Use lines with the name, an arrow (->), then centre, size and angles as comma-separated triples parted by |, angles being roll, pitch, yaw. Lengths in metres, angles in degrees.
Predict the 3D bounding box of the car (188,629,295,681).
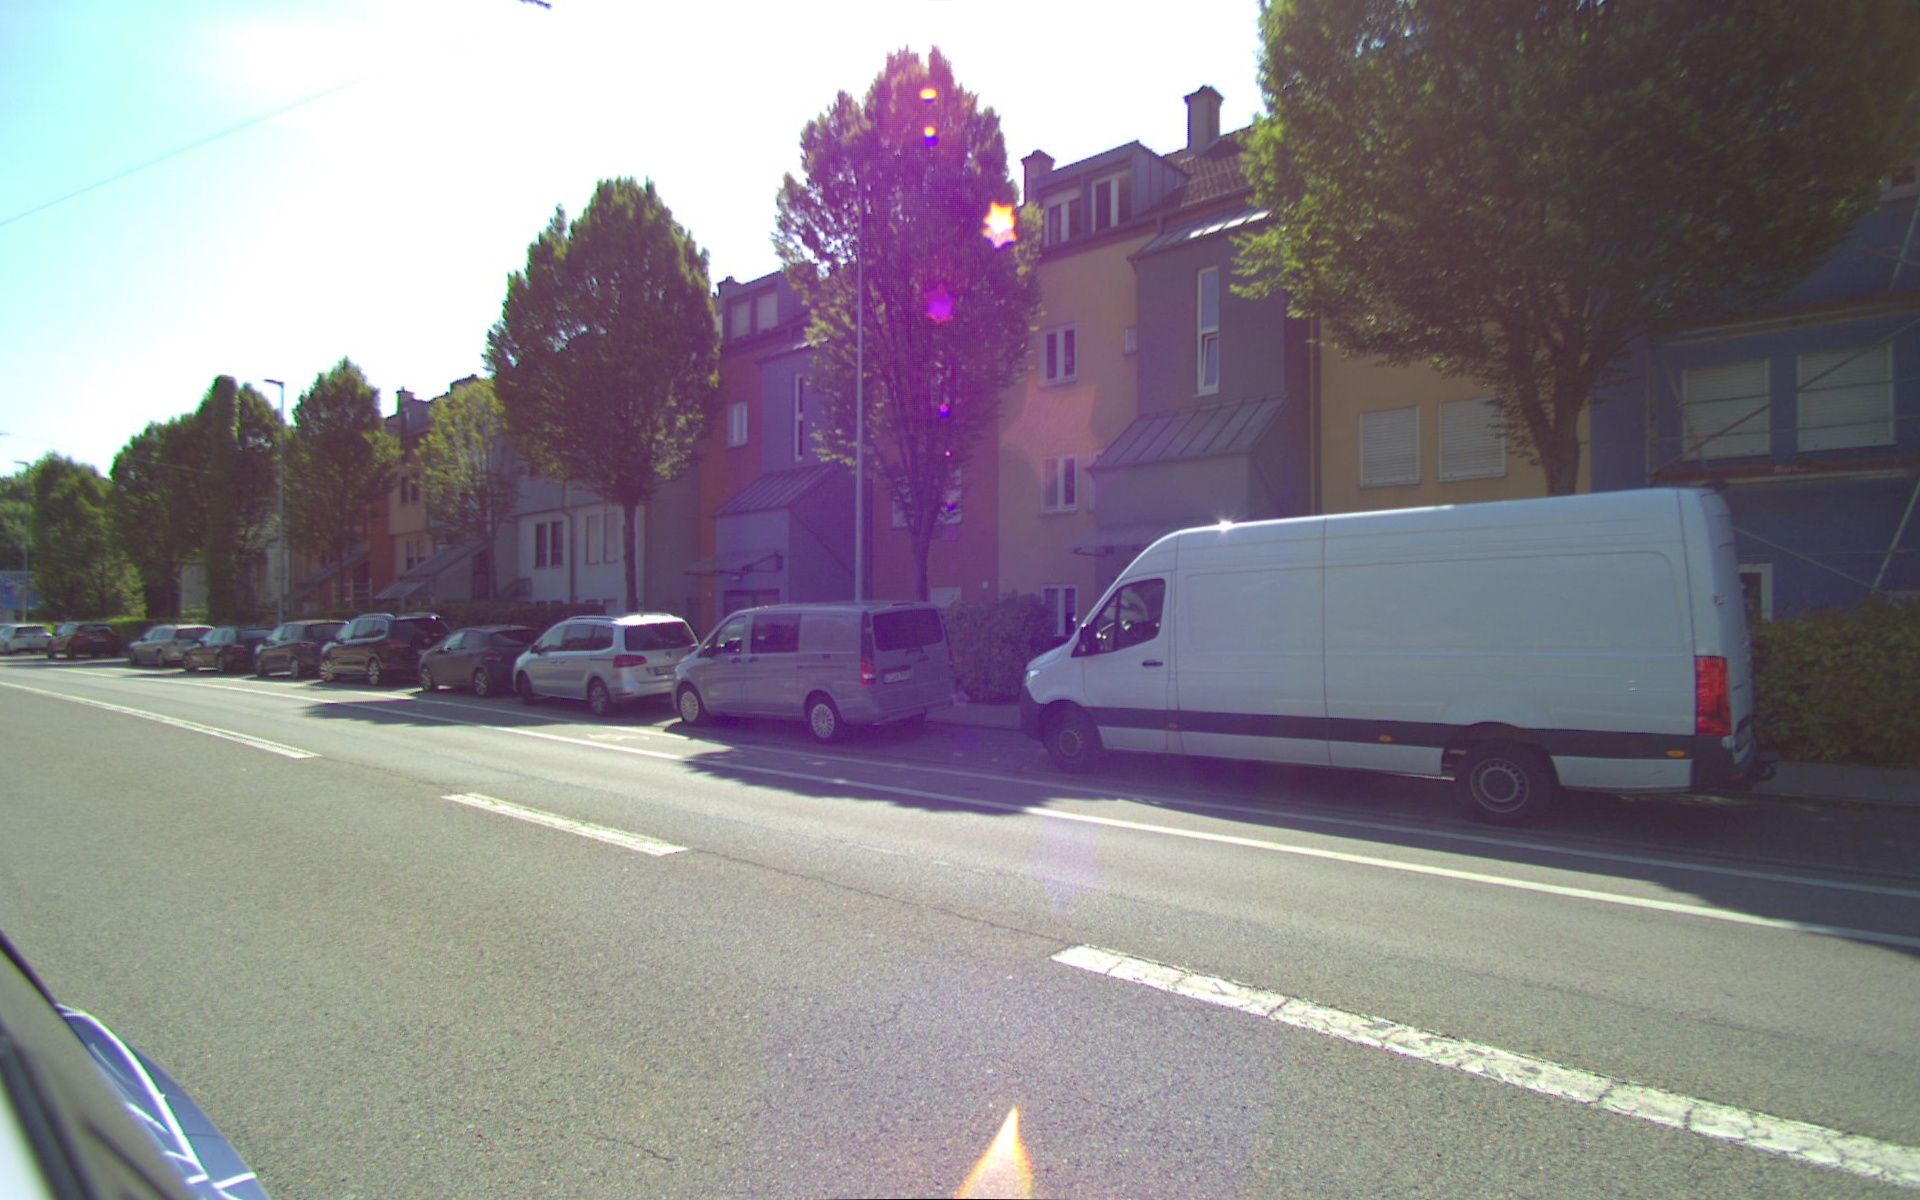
car -> -23.034, 1.697, 32.395 | 4.207, 1.481, 1.661 | -1, 0, 38

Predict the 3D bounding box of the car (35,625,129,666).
car -> -37.524, 1.890, 43.234 | 4.920, 1.588, 1.889 | -1, 0, 35

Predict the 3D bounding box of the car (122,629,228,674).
car -> -28.433, 1.803, 36.612 | 4.826, 1.457, 1.662 | -1, 0, 35

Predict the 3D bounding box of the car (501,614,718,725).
car -> -6.649, 1.182, 18.937 | 4.539, 1.715, 1.829 | -1, 2, 42

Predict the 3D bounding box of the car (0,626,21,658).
car -> -48.406, 2.075, 50.162 | 4.206, 1.489, 1.893 | -1, 0, 35

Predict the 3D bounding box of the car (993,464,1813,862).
car -> 3.707, 0.446, 9.956 | 7.084, 2.697, 1.972 | -1, 1, 42

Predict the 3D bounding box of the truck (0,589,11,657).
truck -> -54.481, 1.232, 54.500 | 8.763, 3.581, 3.129 | -1, -2, 35

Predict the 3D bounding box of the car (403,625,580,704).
car -> -10.422, 1.358, 22.398 | 4.069, 1.466, 1.849 | -1, 2, 38

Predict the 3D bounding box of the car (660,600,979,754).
car -> -2.277, 1.029, 15.373 | 4.964, 1.879, 1.973 | -1, 2, 41

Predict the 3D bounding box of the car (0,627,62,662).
car -> -44.183, 2.062, 47.604 | 4.123, 1.510, 2.016 | -1, 0, 35

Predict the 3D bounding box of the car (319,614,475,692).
car -> -14.134, 1.246, 25.325 | 4.343, 1.741, 1.812 | -1, 1, 38

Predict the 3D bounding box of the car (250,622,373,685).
car -> -18.573, 1.480, 28.910 | 4.159, 1.619, 1.661 | -1, 0, 38
